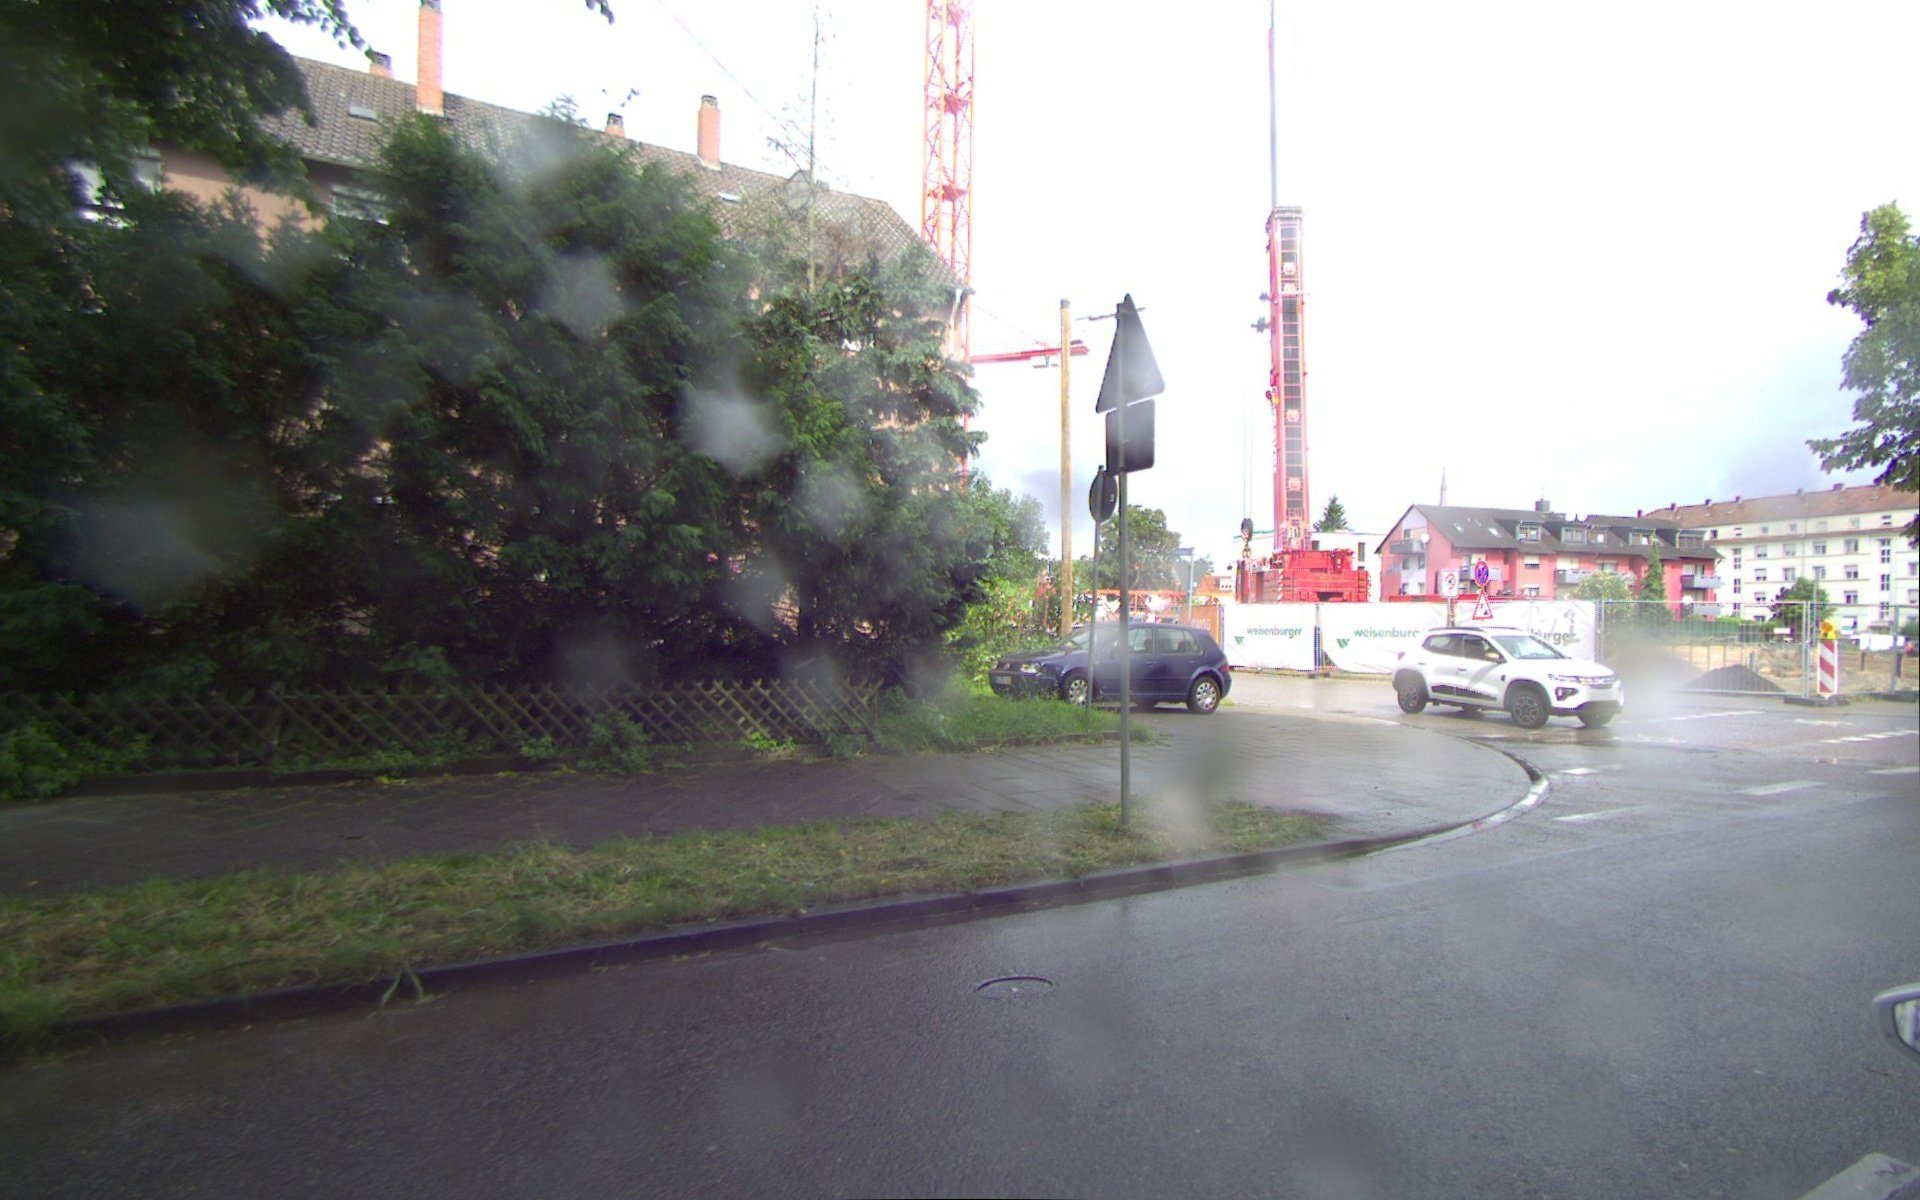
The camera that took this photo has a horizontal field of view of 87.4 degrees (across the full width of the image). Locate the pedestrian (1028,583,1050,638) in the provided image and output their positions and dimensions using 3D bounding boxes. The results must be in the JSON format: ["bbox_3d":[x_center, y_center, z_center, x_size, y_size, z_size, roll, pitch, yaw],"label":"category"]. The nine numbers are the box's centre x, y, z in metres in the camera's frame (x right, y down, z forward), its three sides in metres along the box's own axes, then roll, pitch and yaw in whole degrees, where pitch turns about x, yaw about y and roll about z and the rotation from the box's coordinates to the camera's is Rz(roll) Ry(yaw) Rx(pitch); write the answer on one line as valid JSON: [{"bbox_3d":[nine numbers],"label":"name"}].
[{"bbox_3d":[3.008,0.397,38.086,0.681,2.039,0.487,2,-4,-37],"label":"pedestrian"}]

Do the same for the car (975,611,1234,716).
[{"bbox_3d":[2.328,1.019,15.968,3.823,1.439,1.617,4,0,-29],"label":"car"}]

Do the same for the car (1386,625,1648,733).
[{"bbox_3d":[9.013,1.209,16.586,1.711,1.554,3.602,1,-1,-19],"label":"car"}]

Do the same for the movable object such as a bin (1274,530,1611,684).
[{"bbox_3d":[14.941,0.179,32.343,3.322,4.170,9.776,1,0,-27],"label":"movable object such as a bin"}]
